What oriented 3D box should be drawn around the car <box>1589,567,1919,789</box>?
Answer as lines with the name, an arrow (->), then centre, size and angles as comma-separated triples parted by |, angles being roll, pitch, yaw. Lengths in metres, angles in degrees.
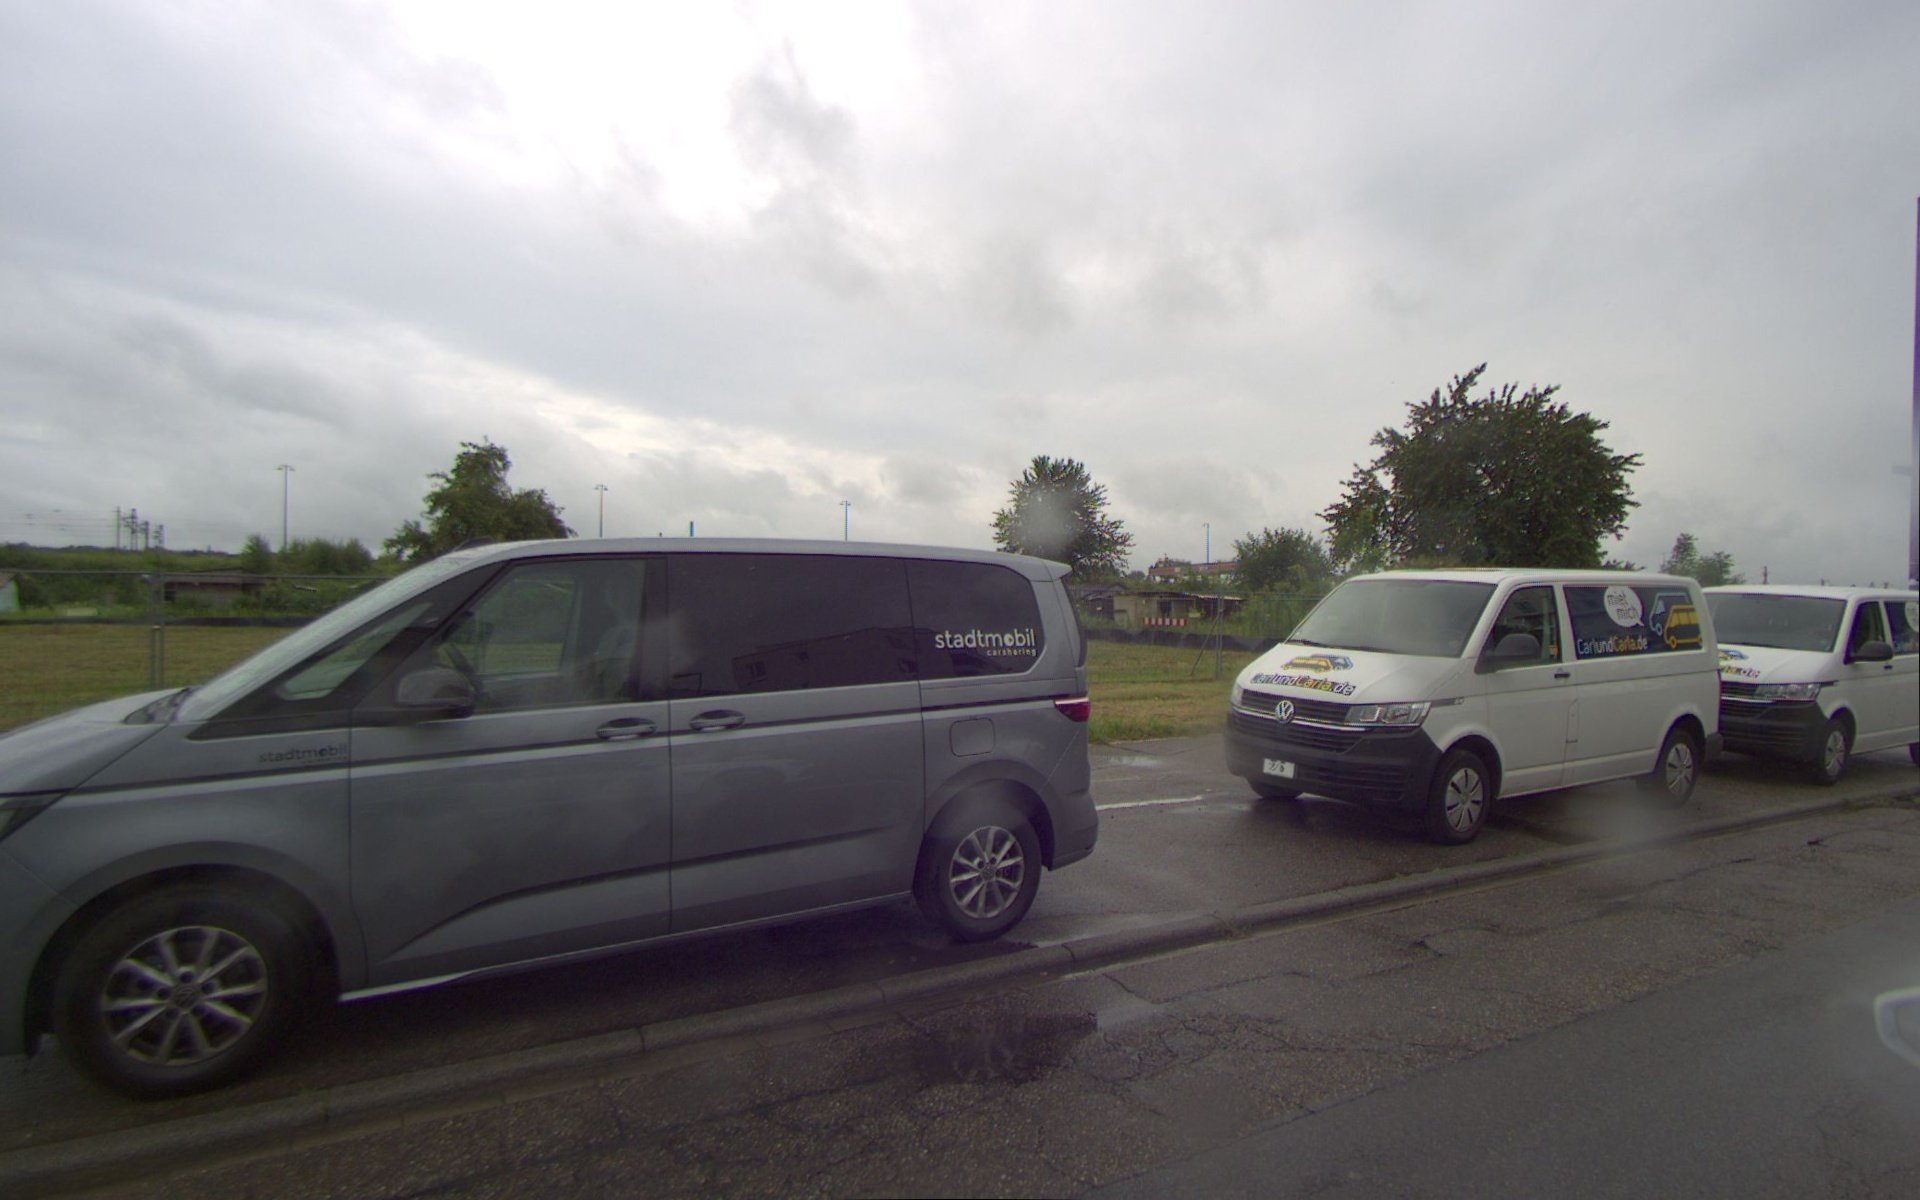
car -> 9.708, 0.752, 11.590 | 5.211, 2.086, 1.950 | 1, 0, -30

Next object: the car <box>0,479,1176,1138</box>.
car -> -1.479, 0.638, 4.853 | 4.936, 1.927, 1.946 | 1, 0, -30

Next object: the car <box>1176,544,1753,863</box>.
car -> 4.449, 0.699, 8.578 | 5.195, 2.040, 1.886 | 1, -1, -30
